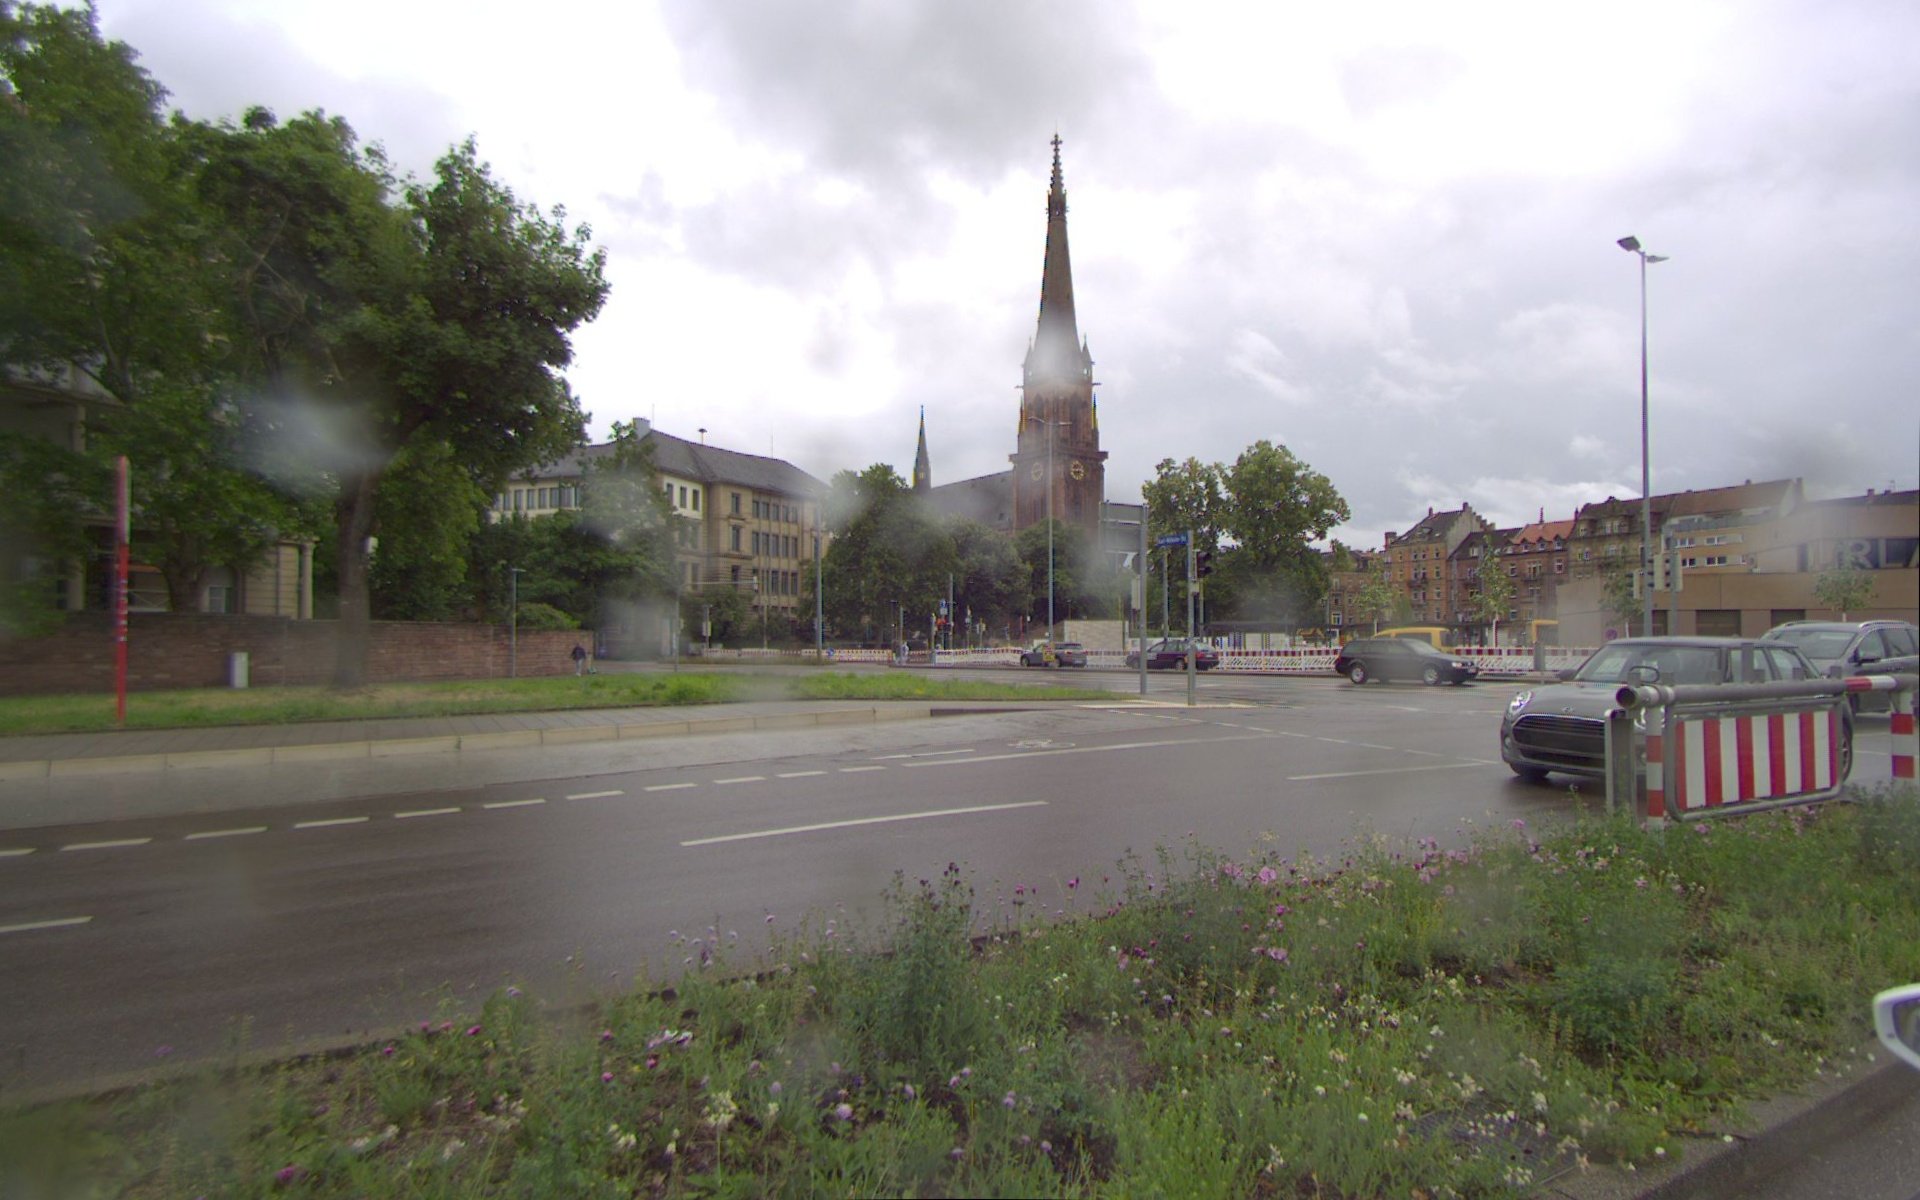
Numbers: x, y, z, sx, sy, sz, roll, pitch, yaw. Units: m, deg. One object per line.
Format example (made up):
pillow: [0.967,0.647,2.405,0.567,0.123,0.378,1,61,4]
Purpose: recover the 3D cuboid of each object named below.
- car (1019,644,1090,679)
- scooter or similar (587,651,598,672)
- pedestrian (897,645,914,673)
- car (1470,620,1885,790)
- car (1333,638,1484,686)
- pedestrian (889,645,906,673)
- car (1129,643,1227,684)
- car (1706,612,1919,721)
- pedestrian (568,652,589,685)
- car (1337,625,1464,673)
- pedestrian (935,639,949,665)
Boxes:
car: [4.978,3.249,53.458,1.695,1.728,3.780,1,-2,-37]
scooter or similar: [-19.376,3.247,52.985,0.274,1.096,1.078,0,-2,-4]
pedestrian: [-3.964,4.270,72.781,0.945,2.040,0.852,1,-2,-30]
car: [7.338,0.969,10.235,4.068,1.394,1.766,0,-4,-28]
car: [14.185,1.915,31.989,1.602,1.420,4.163,1,-2,-36]
pedestrian: [-4.584,4.317,73.533,0.945,2.040,0.852,1,-2,-30]
car: [10.029,2.890,46.476,1.695,1.728,4.414,1,-2,-37]
car: [15.408,1.117,17.605,4.705,1.700,1.767,1,-2,-26]
pedestrian: [-17.902,3.222,47.154,0.661,1.520,0.775,0,-2,4]
car: [16.537,1.820,37.891,1.695,1.728,4.109,1,-2,-37]
pedestrian: [-1.251,3.609,70.373,0.765,1.801,0.720,1,-2,-30]
